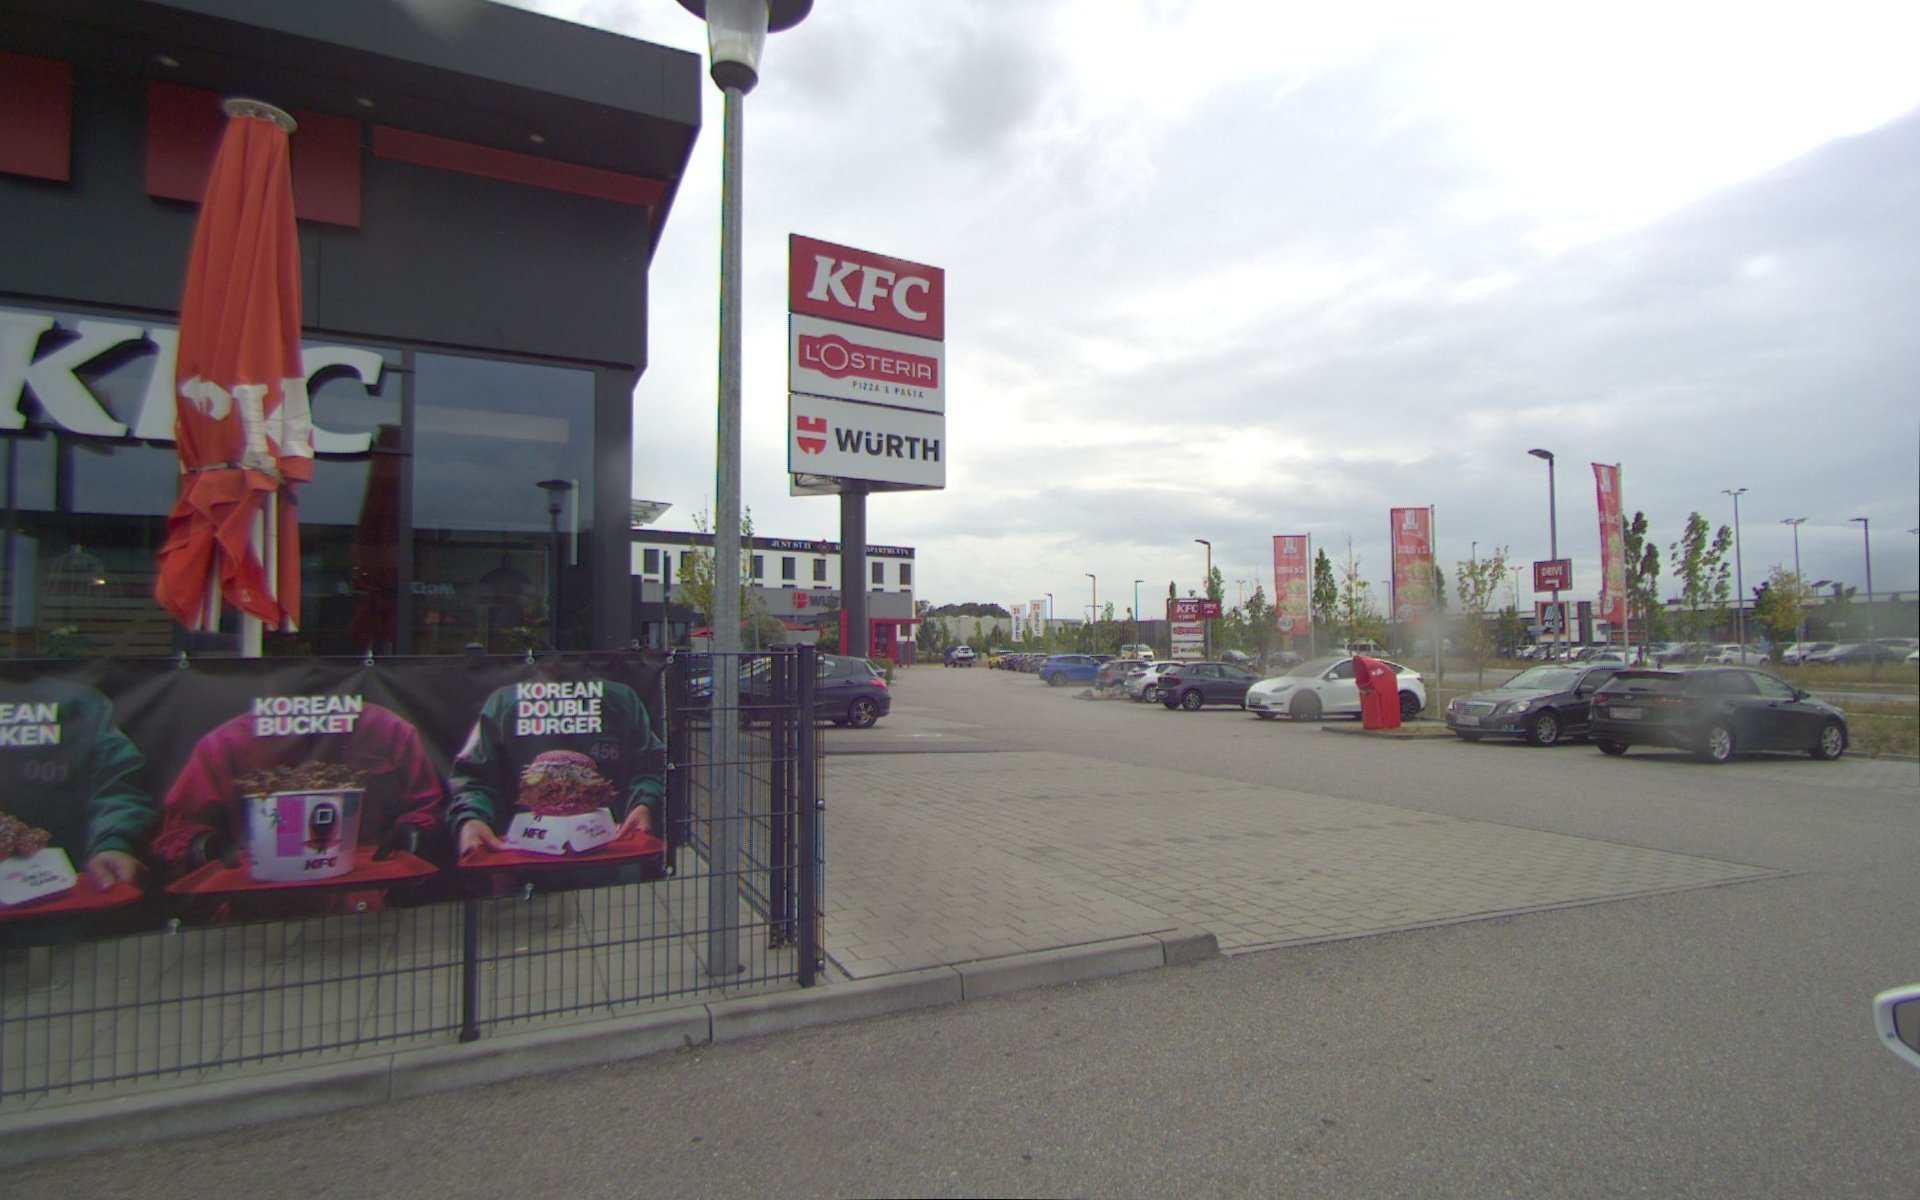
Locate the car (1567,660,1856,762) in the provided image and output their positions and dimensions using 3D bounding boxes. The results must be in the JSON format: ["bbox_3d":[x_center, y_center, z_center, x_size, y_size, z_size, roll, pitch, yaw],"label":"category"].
[{"bbox_3d":[11.958,1.729,16.013,4.011,1.430,1.879,3,-3,-22],"label":"car"}]

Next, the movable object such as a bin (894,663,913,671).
[{"bbox_3d":[-5.278,6.223,93.289,1.475,0.713,0.958,2,-4,-29],"label":"movable object such as a bin"}]

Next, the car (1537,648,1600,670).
[{"bbox_3d":[48.187,4.663,79.578,4.000,1.521,1.862,-1,-3,-10],"label":"car"}]

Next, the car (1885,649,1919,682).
[{"bbox_3d":[54.764,3.639,56.033,1.889,1.795,4.310,-1,-3,-14],"label":"car"}]

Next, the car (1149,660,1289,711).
[{"bbox_3d":[7.840,2.591,30.463,3.742,1.430,1.735,2,-3,-13],"label":"car"}]

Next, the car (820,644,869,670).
[{"bbox_3d":[-9.615,4.787,83.667,2.045,1.879,4.016,-6,0,-40],"label":"car"}]

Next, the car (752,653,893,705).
[{"bbox_3d":[-4.296,2.463,31.418,4.068,1.548,1.731,2,-4,-25],"label":"car"}]

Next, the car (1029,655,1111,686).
[{"bbox_3d":[5.710,3.680,52.339,3.996,1.478,1.776,-1,-2,-3],"label":"car"}]

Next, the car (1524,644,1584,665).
[{"bbox_3d":[48.454,4.430,81.977,3.985,1.559,1.903,-1,-3,-14],"label":"car"}]

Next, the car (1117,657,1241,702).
[{"bbox_3d":[7.701,2.793,35.442,3.868,1.430,1.837,2,-3,-9],"label":"car"}]

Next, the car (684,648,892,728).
[{"bbox_3d":[-3.538,1.799,20.663,3.886,1.506,1.748,3,-3,-25],"label":"car"}]

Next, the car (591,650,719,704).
[{"bbox_3d":[-10.382,2.585,34.191,3.945,1.616,1.726,-1,-3,-25],"label":"car"}]

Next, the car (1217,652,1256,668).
[{"bbox_3d":[24.520,5.321,89.288,1.736,1.413,4.214,0,-3,-9],"label":"car"}]

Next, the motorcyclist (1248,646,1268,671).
[{"bbox_3d":[18.914,3.715,63.705,0.923,1.508,0.830,0,-3,-6],"label":"motorcyclist"}]

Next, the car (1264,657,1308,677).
[{"bbox_3d":[26.111,5.389,80.632,1.821,1.518,4.282,0,-3,-6],"label":"car"}]

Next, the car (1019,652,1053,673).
[{"bbox_3d":[5.590,4.614,74.274,1.724,1.488,4.473,0,-3,-6],"label":"car"}]

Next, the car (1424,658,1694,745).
[{"bbox_3d":[11.318,1.894,19.018,4.671,1.475,1.903,3,-3,-20],"label":"car"}]

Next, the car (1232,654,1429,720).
[{"bbox_3d":[9.441,2.219,25.700,4.470,1.561,1.920,2,-3,-15],"label":"car"}]

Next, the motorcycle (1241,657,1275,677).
[{"bbox_3d":[18.910,4.235,63.682,1.885,1.224,0.794,0,-3,-6],"label":"motorcycle"}]

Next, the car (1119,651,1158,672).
[{"bbox_3d":[19.060,6.555,107.506,1.967,2.114,5.213,0,-2,-16],"label":"car"}]

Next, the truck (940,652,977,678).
[{"bbox_3d":[-0.264,7.112,109.007,2.299,2.436,7.881,2,-6,-13],"label":"truck"}]

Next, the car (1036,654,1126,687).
[{"bbox_3d":[5.974,3.485,49.911,4.135,1.564,1.864,0,-3,-5],"label":"car"}]

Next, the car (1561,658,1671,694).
[{"bbox_3d":[31.854,3.637,48.971,1.768,1.572,4.851,-2,-3,-6],"label":"car"}]

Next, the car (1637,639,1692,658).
[{"bbox_3d":[70.687,4.877,100.867,1.969,1.862,4.170,-1,-3,-19],"label":"car"}]

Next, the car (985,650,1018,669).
[{"bbox_3d":[3.826,5.513,93.201,1.832,1.671,3.988,2,-4,-16],"label":"car"}]

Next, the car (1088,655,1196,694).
[{"bbox_3d":[7.259,2.969,40.238,3.925,1.447,1.726,1,-3,-7],"label":"car"}]

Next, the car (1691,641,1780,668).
[{"bbox_3d":[49.346,3.488,63.970,4.078,1.559,2.000,-2,-3,-1],"label":"car"}]

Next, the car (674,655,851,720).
[{"bbox_3d":[-5.070,2.189,25.804,4.122,1.505,1.988,1,-3,-25],"label":"car"}]

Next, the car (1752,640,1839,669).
[{"bbox_3d":[49.483,3.200,59.518,3.982,1.559,1.769,-1,-3,-11],"label":"car"}]

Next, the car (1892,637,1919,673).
[{"bbox_3d":[50.364,2.765,51.440,4.253,1.795,1.993,-1,-3,-19],"label":"car"}]

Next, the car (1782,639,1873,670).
[{"bbox_3d":[49.352,3.091,57.149,3.982,1.559,1.769,-1,-3,-11],"label":"car"}]

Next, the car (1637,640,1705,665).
[{"bbox_3d":[49.091,3.627,69.371,3.699,1.559,1.768,-1,-3,-14],"label":"car"}]
